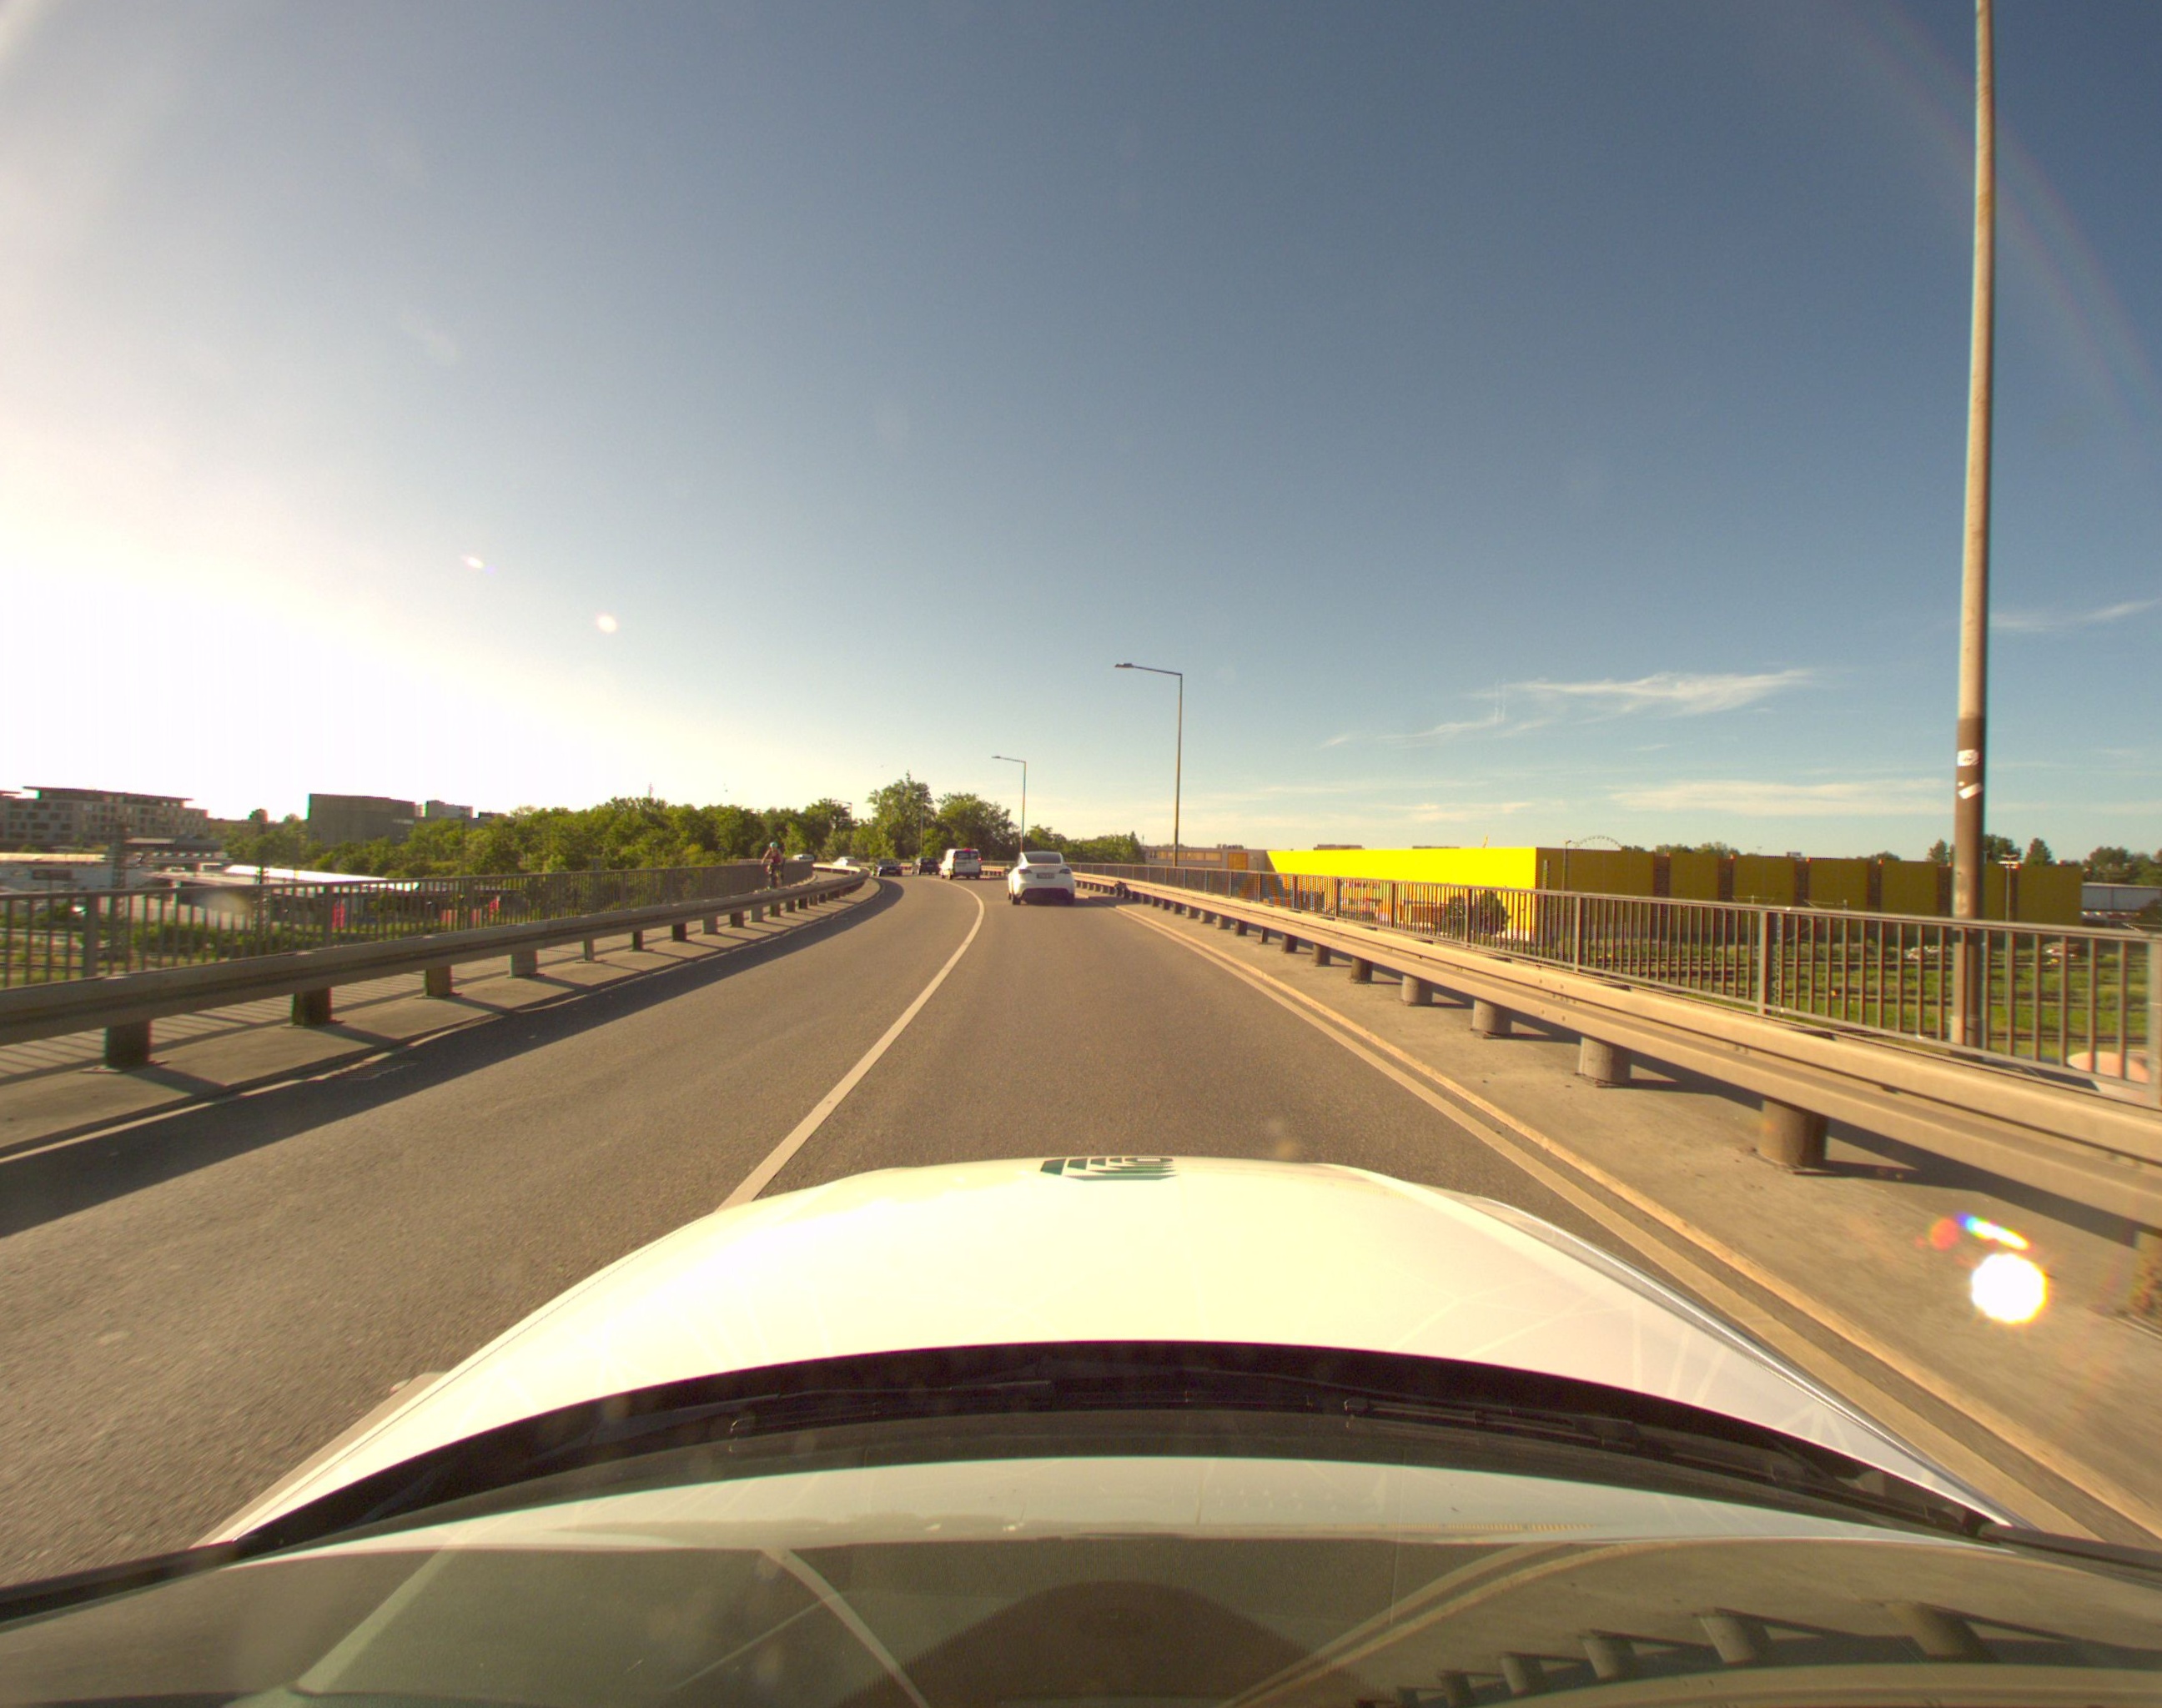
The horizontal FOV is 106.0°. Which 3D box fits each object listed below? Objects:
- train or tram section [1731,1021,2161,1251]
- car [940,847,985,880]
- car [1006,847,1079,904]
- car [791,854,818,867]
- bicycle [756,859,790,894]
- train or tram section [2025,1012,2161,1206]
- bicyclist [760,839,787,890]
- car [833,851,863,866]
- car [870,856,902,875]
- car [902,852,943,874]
[{"bbox_3d":[28.084,8.747,26.468,13.049,5.265,3.324,-1,0,-12],"label":"train or tram section"},{"bbox_3d":[-7.469,0.580,51.088,2.011,1.940,4.439,-1,0,-19],"label":"car"},{"bbox_3d":[-1.317,0.648,26.065,1.984,1.638,4.052,-2,0,-8],"label":"car"},{"bbox_3d":[-34.138,0.795,100.506,1.851,1.555,3.847,0,0,-42],"label":"car"},{"bbox_3d":[-9.849,0.710,26.117,0.653,1.065,1.884,0,0,-9],"label":"bicycle"},{"bbox_3d":[42.703,8.605,29.516,16.835,5.261,3.324,-1,0,-12],"label":"train or tram section"},{"bbox_3d":[-9.839,0.338,26.042,0.653,1.589,0.765,0,0,-10],"label":"bicyclist"},{"bbox_3d":[-25.168,0.464,88.050,1.874,1.585,3.870,-1,0,-37],"label":"car"},{"bbox_3d":[-14.747,0.845,61.560,1.752,1.355,4.151,-1,0,-22],"label":"car"},{"bbox_3d":[-12.632,0.741,64.759,1.981,1.638,3.961,-1,0,-30],"label":"car"}]
